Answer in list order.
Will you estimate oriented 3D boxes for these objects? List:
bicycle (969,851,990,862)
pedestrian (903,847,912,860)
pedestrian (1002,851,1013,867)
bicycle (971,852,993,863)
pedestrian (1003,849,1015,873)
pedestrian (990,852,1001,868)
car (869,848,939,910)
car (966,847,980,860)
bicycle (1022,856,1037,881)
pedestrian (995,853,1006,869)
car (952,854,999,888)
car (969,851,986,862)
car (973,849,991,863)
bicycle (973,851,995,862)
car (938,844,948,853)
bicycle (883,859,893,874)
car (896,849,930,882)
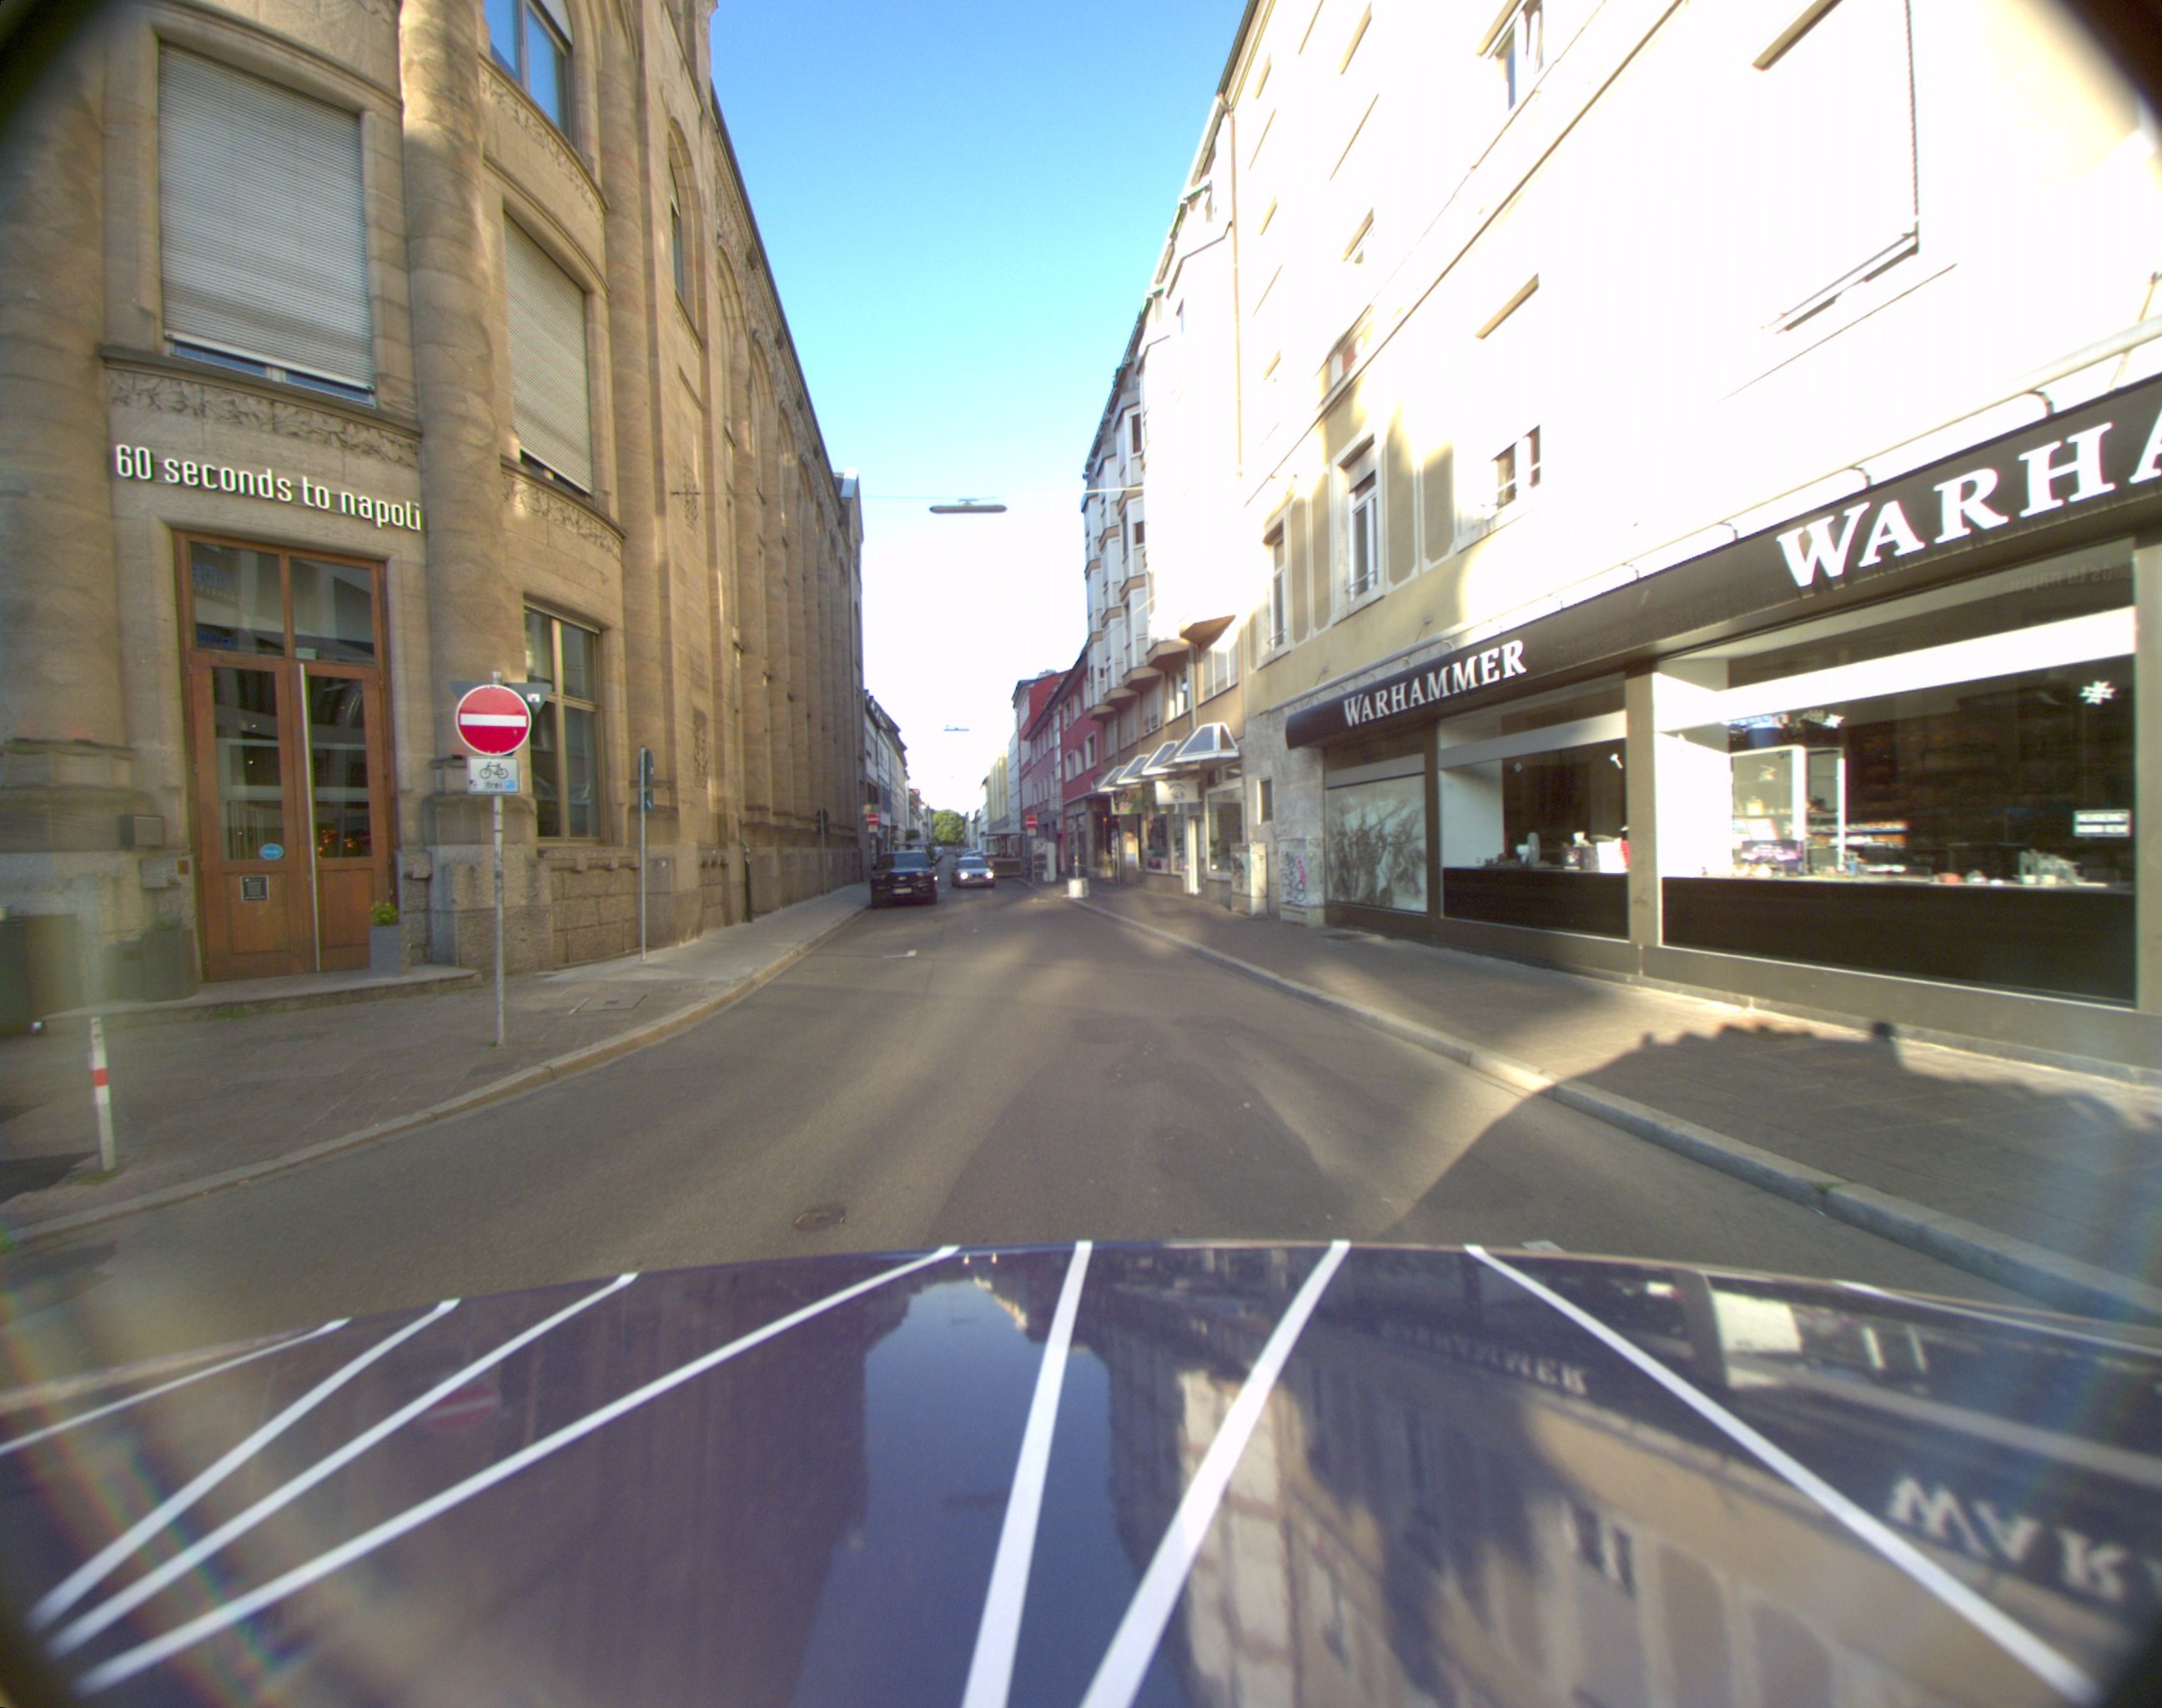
[{"bbox_3d":[-12.388,0.306,93.002,2.482,1.323,0.783,-3,2,-4],"label":"bicycle"},{"bbox_3d":[-17.558,-0.051,76.766,0.737,1.236,0.645,-3,2,-8],"label":"pedestrian"},{"bbox_3d":[-5.017,0.348,51.852,0.603,1.057,0.546,-3,2,-18],"label":"pedestrian"},{"bbox_3d":[-11.718,0.433,90.213,2.482,1.172,0.783,-3,2,-4],"label":"bicycle"},{"bbox_3d":[-4.594,0.451,48.499,0.612,1.464,0.546,-3,2,-18],"label":"pedestrian"},{"bbox_3d":[-6.129,0.422,54.469,0.634,1.061,0.559,-3,2,-18],"label":"pedestrian"},{"bbox_3d":[-5.803,0.738,25.343,2.000,1.773,4.929,-2,1,-11],"label":"car"},{"bbox_3d":[-17.675,-0.034,123.821,2.000,2.030,4.454,-3,1,-10],"label":"car"},{"bbox_3d":[-2.616,0.721,38.404,0.545,1.185,1.840,-3,1,-10],"label":"bicycle"},{"bbox_3d":[-5.418,0.453,50.995,0.612,1.057,0.546,-3,2,-18],"label":"pedestrian"},{"bbox_3d":[-5.078,0.753,36.236,2.000,1.414,4.454,-3,1,-10],"label":"car"},{"bbox_3d":[-13.921,0.325,102.053,2.000,1.462,4.454,-3,1,-10],"label":"car"},{"bbox_3d":[-12.585,0.241,96.611,2.000,1.667,4.454,-3,1,-10],"label":"car"},{"bbox_3d":[-11.008,0.285,86.272,2.482,1.172,0.783,-3,2,-4],"label":"bicycle"},{"bbox_3d":[-32.009,-1.315,176.155,2.000,1.884,4.454,-3,1,-10],"label":"car"},{"bbox_3d":[-14.046,0.898,55.275,0.520,1.083,1.750,2,0,-10],"label":"bicycle"},{"bbox_3d":[-10.046,0.631,45.676,1.676,1.796,4.235,-3,1,-9],"label":"car"}]
